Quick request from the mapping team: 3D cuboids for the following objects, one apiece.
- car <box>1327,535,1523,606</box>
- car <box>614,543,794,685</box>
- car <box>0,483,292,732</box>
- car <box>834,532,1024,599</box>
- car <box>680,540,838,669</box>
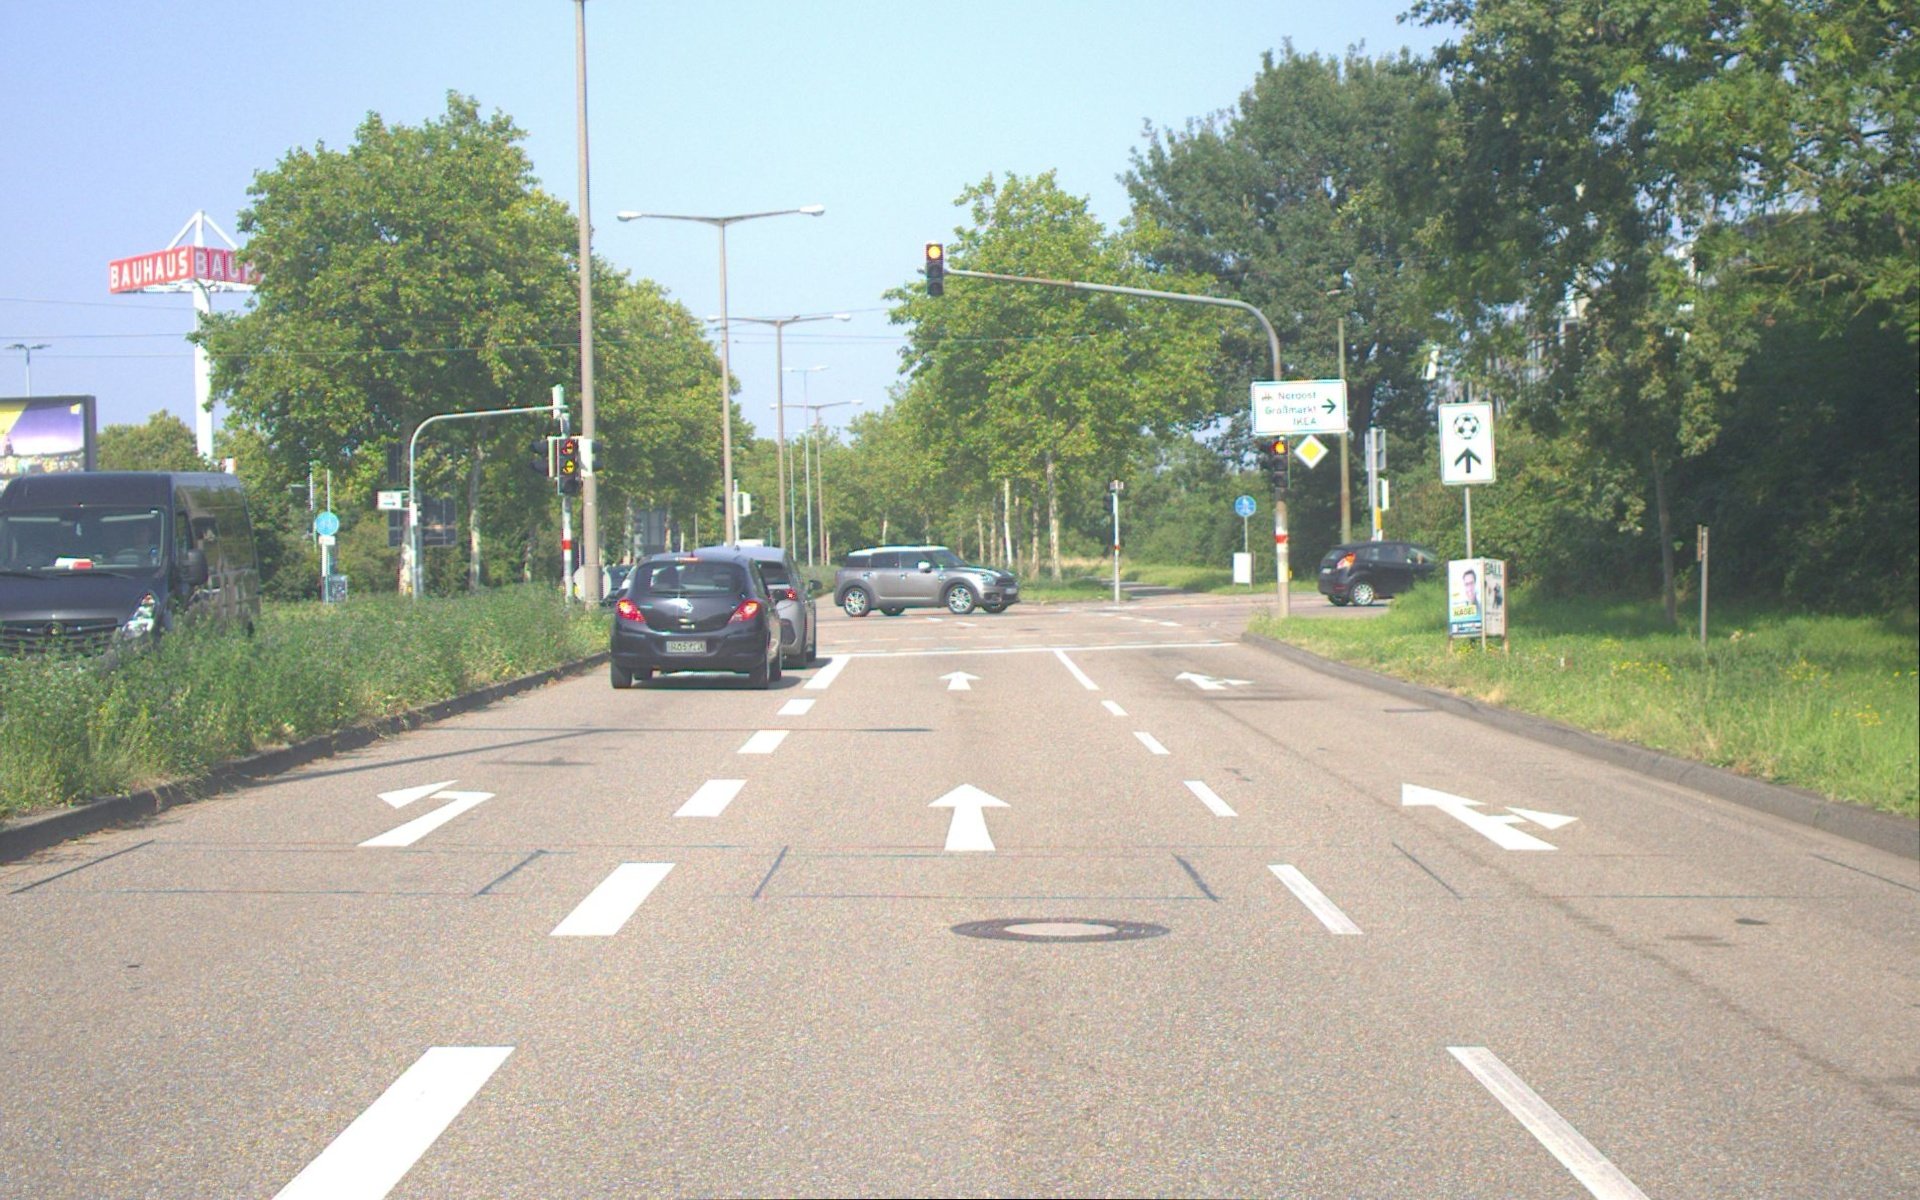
[{"bbox_3d":[10.249,-0.653,75.971,3.961,1.528,1.824,0,1,-7],"label":"car"},{"bbox_3d":[-2.778,0.123,37.997,1.692,1.481,4.000,0,1,0],"label":"car"},{"bbox_3d":[-8.514,0.036,35.300,2.112,2.325,6.282,0,1,0],"label":"car"},{"bbox_3d":[-0.703,-0.783,76.945,3.972,1.481,1.623,1,1,28],"label":"car"},{"bbox_3d":[-2.449,0.021,42.734,1.692,1.481,4.000,-2,1,0],"label":"car"}]
